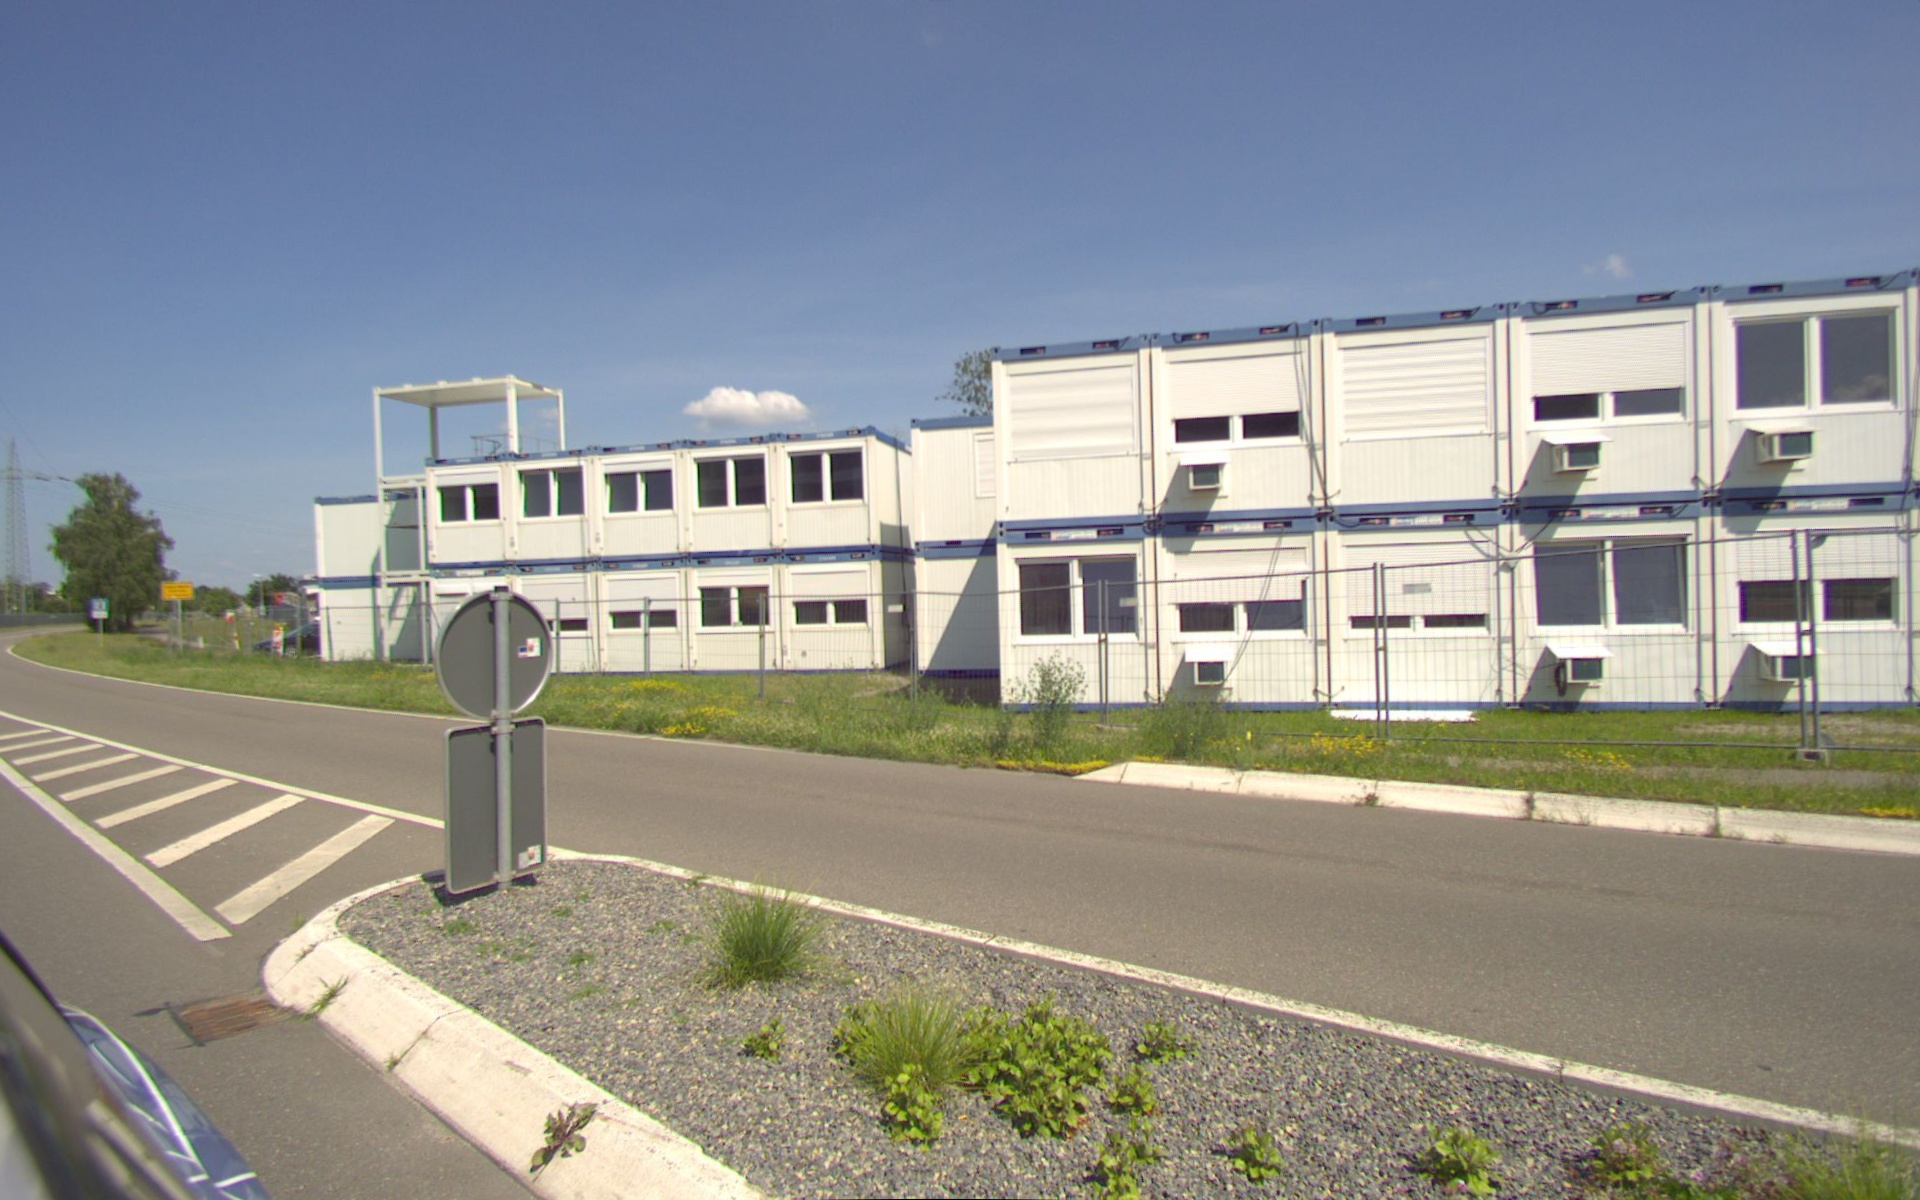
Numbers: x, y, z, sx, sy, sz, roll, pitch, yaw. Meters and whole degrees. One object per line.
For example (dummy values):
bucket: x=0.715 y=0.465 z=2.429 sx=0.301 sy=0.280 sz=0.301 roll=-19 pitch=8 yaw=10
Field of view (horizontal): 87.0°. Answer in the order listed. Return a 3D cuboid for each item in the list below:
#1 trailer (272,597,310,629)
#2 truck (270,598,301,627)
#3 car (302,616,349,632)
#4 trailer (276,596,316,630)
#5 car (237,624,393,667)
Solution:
trailer: x=-81.258 y=1.552 z=122.758 sx=3.247 sy=3.672 sz=14.960 roll=-1 pitch=0 yaw=-36
truck: x=-88.773 y=1.663 z=133.087 sx=3.060 sy=3.672 sz=10.619 roll=-1 pitch=0 yaw=-36
car: x=-64.080 y=2.425 z=102.247 sx=3.934 sy=1.353 sz=1.751 roll=-2 pitch=0 yaw=-36
trailer: x=-74.337 y=1.451 z=113.199 sx=3.354 sy=3.672 sz=8.679 roll=-1 pitch=0 yaw=-36
car: x=-26.063 y=1.794 z=41.081 sx=1.994 sy=1.427 sz=4.931 roll=-2 pitch=0 yaw=32
